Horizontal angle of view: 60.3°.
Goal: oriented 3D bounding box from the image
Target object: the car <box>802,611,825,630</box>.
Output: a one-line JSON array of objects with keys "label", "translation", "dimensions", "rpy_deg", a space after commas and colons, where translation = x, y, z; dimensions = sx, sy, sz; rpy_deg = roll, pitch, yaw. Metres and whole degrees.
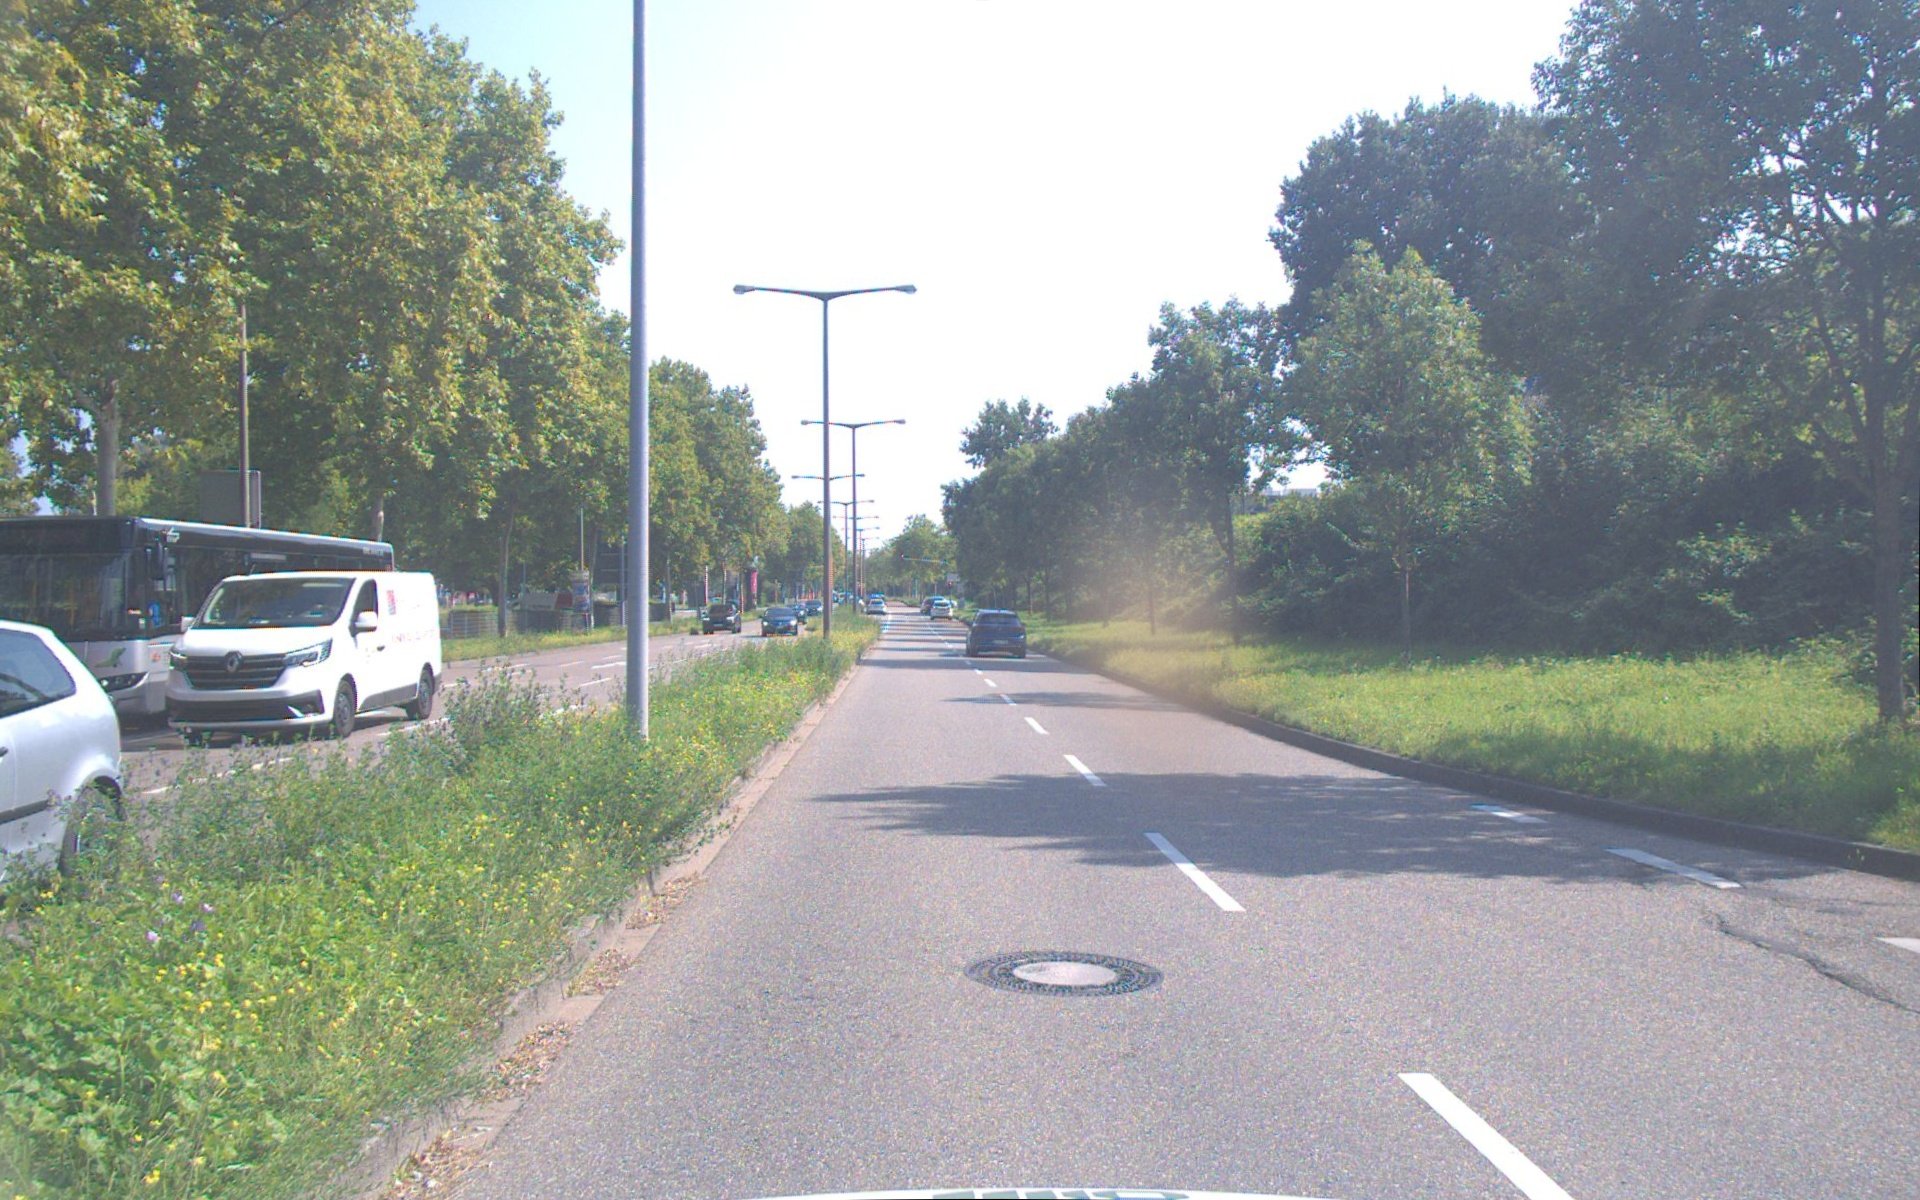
[{"label": "car", "translation": [-12.858, 1.803, 145.541], "dimensions": [1.954, 1.613, 4.342], "rpy_deg": [0, -1, -4]}]

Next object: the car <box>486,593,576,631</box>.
[{"label": "car", "translation": [-28.913, 0.800, 111.664], "dimensions": [5.474, 2.377, 2.277], "rpy_deg": [1, 2, -4]}]

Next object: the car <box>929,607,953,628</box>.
[{"label": "car", "translation": [-1.625, 1.486, 139.813], "dimensions": [1.954, 1.683, 3.998], "rpy_deg": [-1, -1, -3]}]

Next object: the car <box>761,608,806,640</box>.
[{"label": "car", "translation": [-8.761, 1.196, 82.332], "dimensions": [1.808, 1.516, 4.642], "rpy_deg": [-2, -1, -2]}]

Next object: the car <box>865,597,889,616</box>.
[{"label": "car", "translation": [-7.855, 0.650, 156.527], "dimensions": [1.952, 1.732, 4.001], "rpy_deg": [-1, -1, 2]}]

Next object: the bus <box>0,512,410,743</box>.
[{"label": "bus", "translation": [-11.444, 0.412, 25.524], "dimensions": [2.608, 2.741, 10.900], "rpy_deg": [-2, -1, -2]}]

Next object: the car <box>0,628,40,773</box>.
[{"label": "car", "translation": [-10.985, 1.071, 15.681], "dimensions": [1.744, 1.537, 5.210], "rpy_deg": [-2, -1, -2]}]

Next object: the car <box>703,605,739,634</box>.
[{"label": "car", "translation": [-13.532, 1.126, 93.793], "dimensions": [1.810, 1.633, 4.605], "rpy_deg": [0, -1, -5]}]

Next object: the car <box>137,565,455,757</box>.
[{"label": "car", "translation": [-7.976, 0.633, 20.485], "dimensions": [1.888, 1.994, 5.188], "rpy_deg": [-2, 1, -2]}]

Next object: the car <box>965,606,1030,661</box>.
[{"label": "car", "translation": [1.131, 1.005, 51.655], "dimensions": [1.745, 1.452, 3.999], "rpy_deg": [1, 2, -2]}]

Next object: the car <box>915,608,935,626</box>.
[{"label": "car", "translation": [-3.779, 1.812, 178.327], "dimensions": [1.954, 1.682, 3.999], "rpy_deg": [1, 3, -4]}]

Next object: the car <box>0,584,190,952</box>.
[{"label": "car", "translation": [-4.879, 0.738, 6.788], "dimensions": [1.581, 1.562, 4.099], "rpy_deg": [-2, -1, -2]}]
